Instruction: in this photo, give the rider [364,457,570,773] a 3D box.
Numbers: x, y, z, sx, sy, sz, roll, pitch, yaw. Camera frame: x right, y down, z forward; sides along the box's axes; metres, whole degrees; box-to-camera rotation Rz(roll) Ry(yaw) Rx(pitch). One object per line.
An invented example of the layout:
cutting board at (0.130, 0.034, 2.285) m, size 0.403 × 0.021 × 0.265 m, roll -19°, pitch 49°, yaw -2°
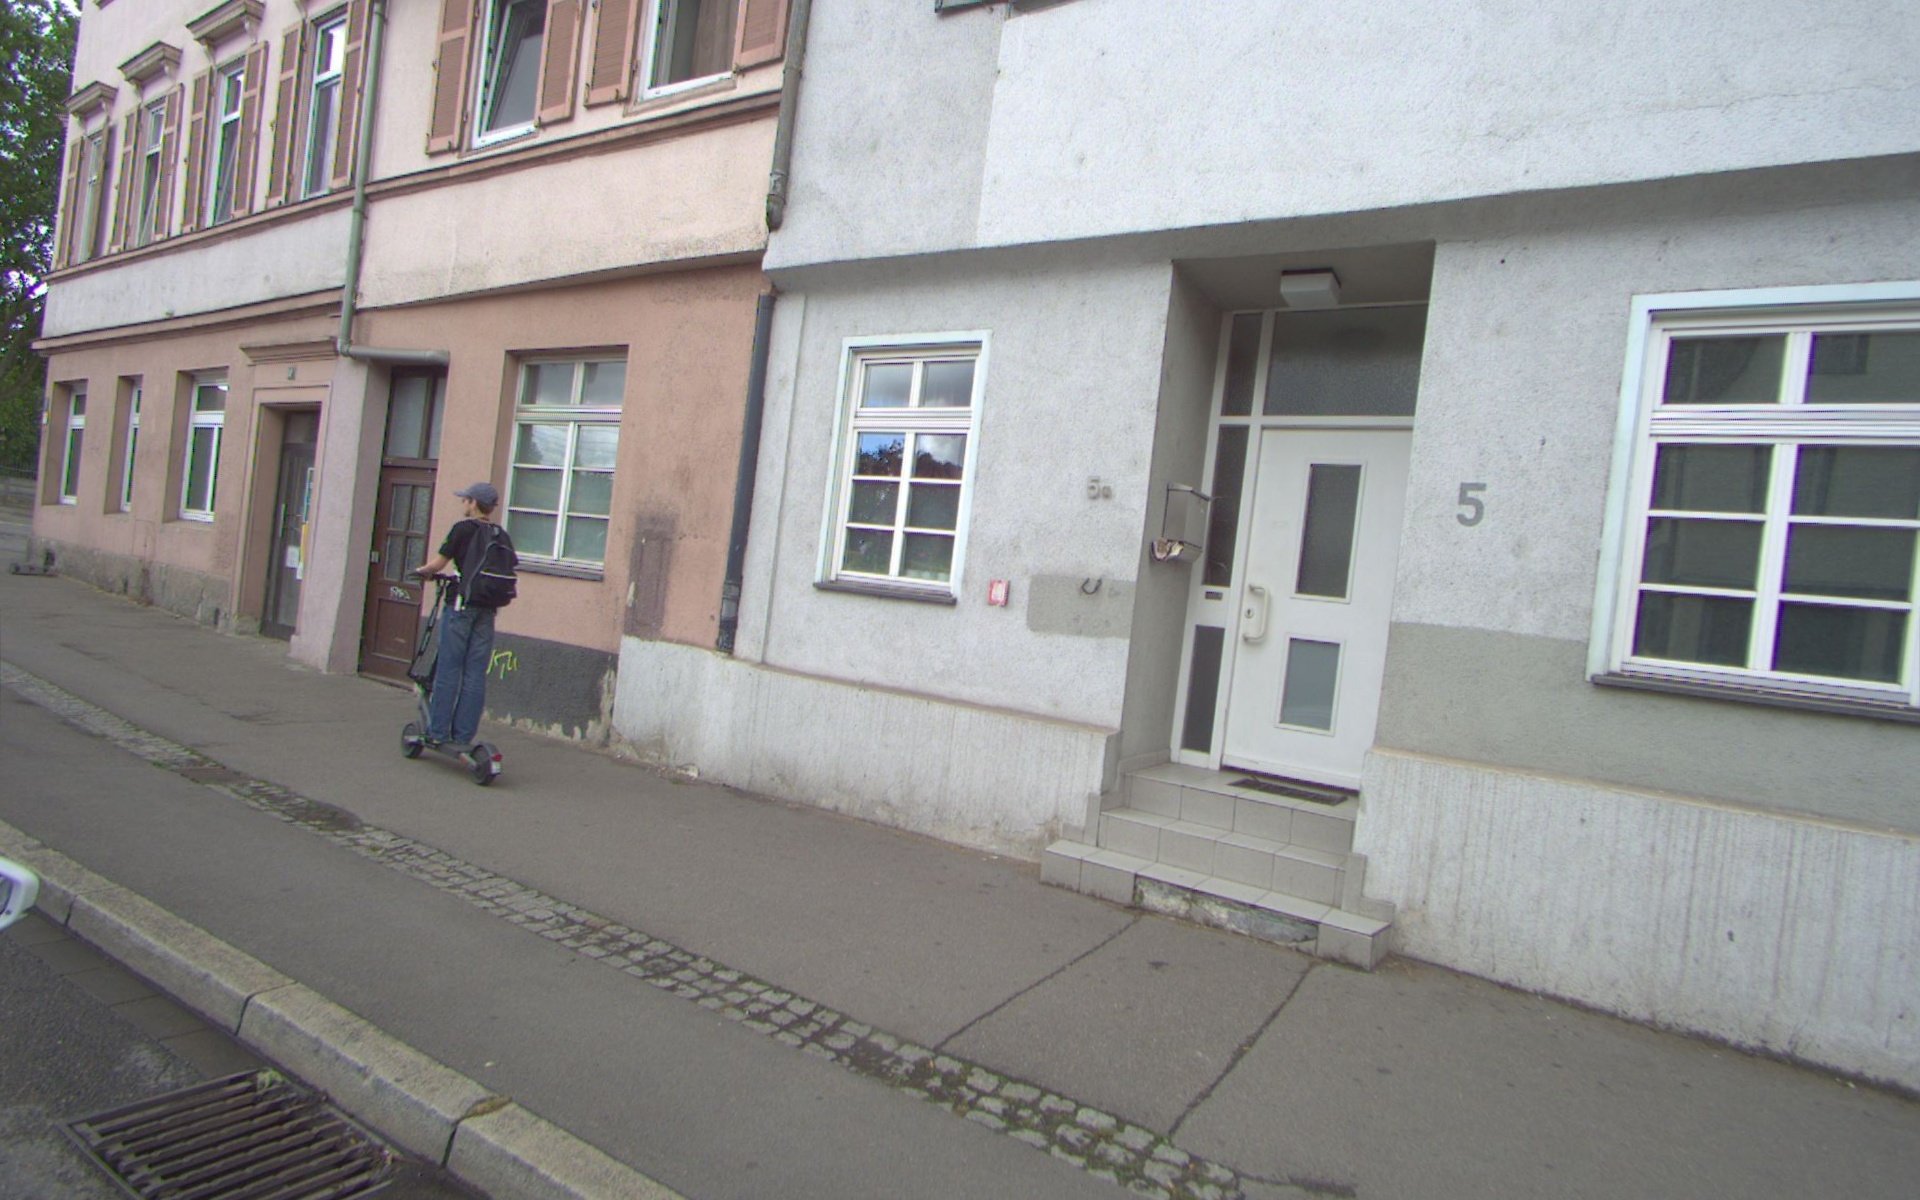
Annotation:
rider at (-3.177, 0.087, 6.501) m, size 0.784 × 1.870 × 0.718 m, roll 7°, pitch 1°, yaw 31°
